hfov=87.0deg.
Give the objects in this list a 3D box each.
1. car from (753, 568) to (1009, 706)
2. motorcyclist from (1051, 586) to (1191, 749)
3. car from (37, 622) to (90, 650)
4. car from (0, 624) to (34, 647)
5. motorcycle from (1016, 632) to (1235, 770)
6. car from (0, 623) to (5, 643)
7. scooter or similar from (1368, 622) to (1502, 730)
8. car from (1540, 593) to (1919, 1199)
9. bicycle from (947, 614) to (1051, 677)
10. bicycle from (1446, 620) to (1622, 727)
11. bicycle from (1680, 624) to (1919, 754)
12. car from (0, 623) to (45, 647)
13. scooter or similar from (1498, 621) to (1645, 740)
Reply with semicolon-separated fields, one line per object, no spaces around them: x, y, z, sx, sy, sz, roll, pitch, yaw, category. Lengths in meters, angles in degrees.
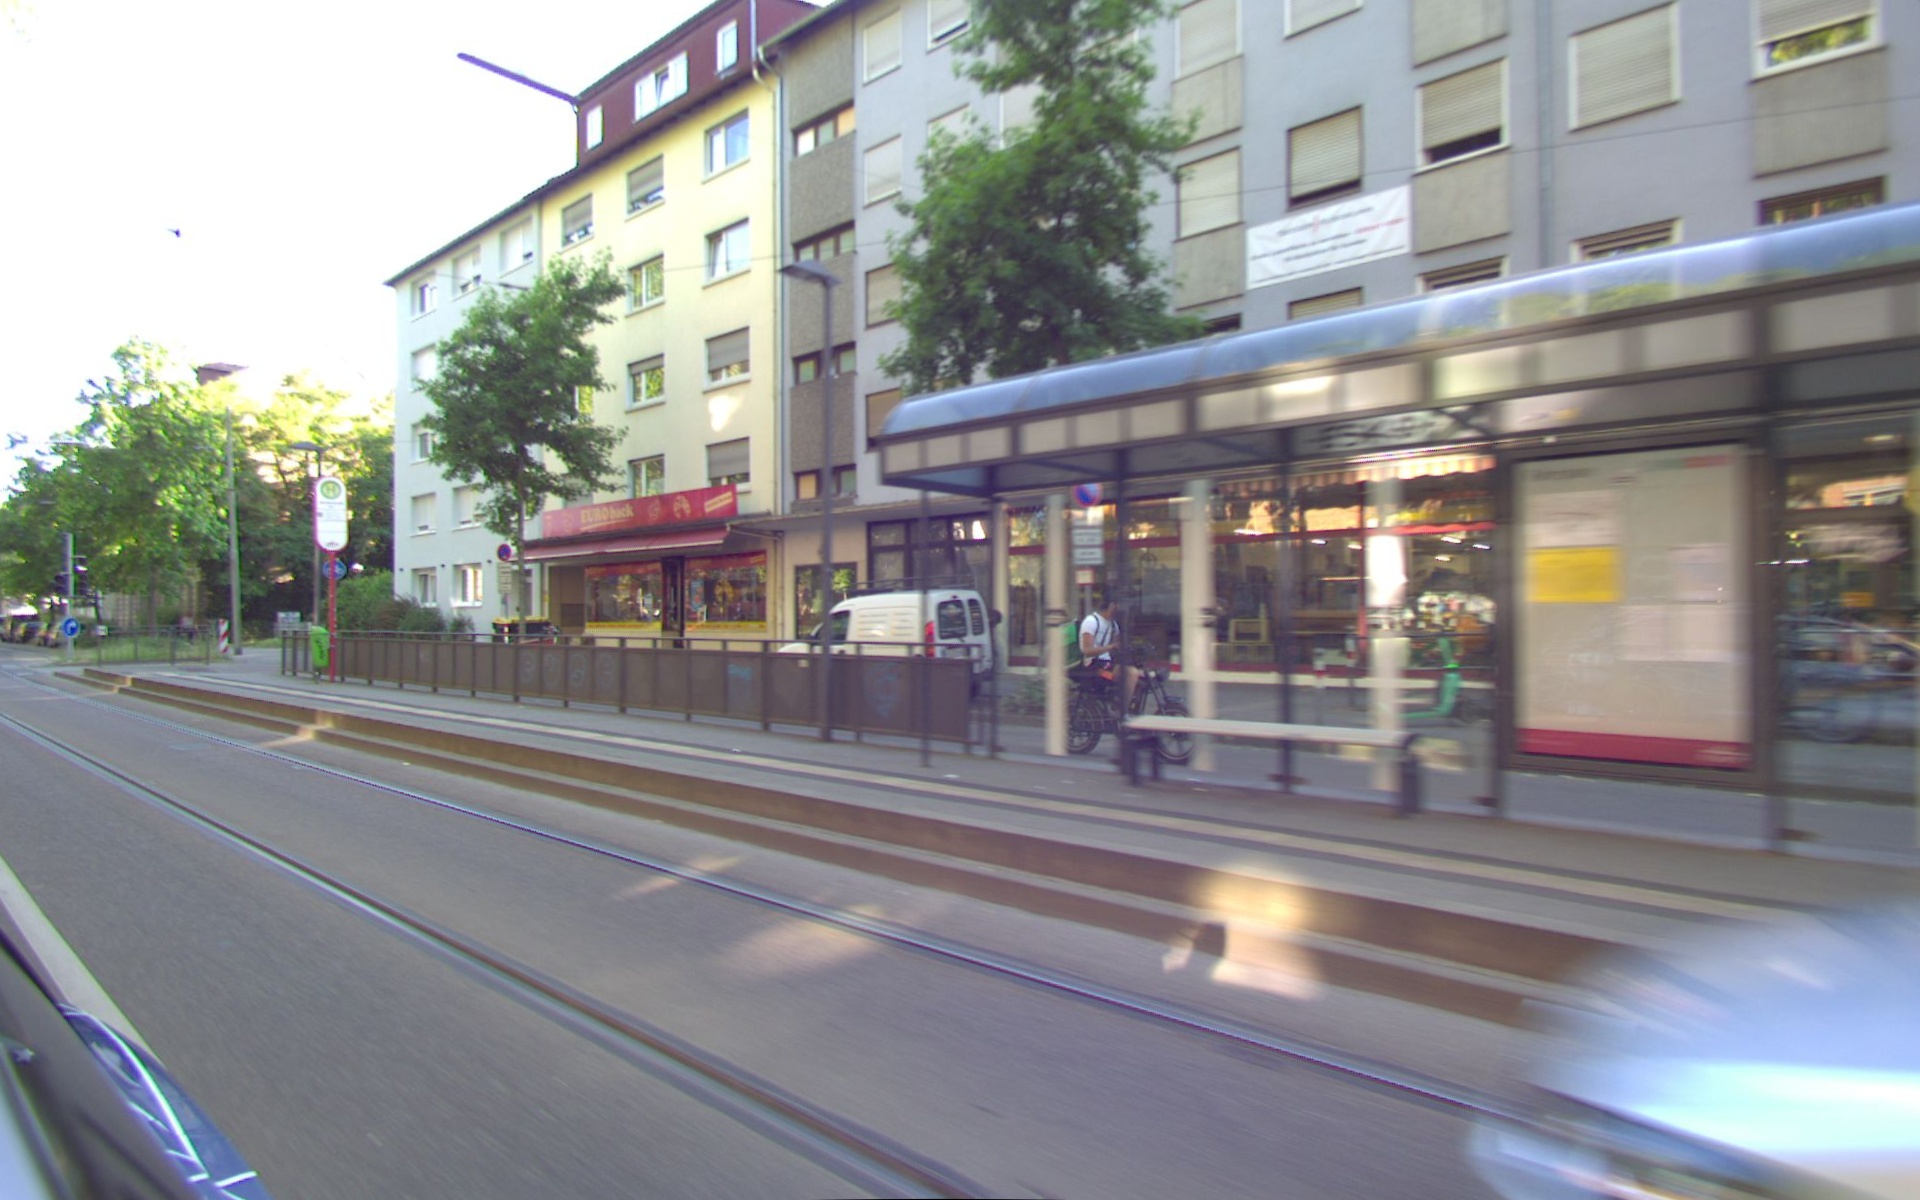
-1.357;0.573;16.354;4.046;1.949;1.785;-1;-2;40;car
1.539;0.618;9.678;1.015;1.451;0.864;-1;-2;40;motorcyclist
-51.108;2.030;57.665;3.678;1.541;1.971;-1;-2;44;car
-66.564;2.457;71.117;3.678;1.541;1.971;-1;-2;44;car
1.546;0.901;9.665;1.914;1.173;0.840;-1;-2;41;motorcycle
-77.410;2.623;80.465;3.678;1.541;1.971;-1;-2;44;car
5.324;0.842;11.386;1.259;1.183;0.445;0;-1;5;scooter or similar
2.839;0.697;0.671;3.998;1.437;1.743;-1;-2;41;car
0.730;0.859;19.526;2.033;1.165;0.565;-1;-2;35;bicycle
6.617;0.813;11.728;1.688;1.165;0.506;-1;-2;44;bicycle
8.172;0.813;9.702;2.033;1.165;0.565;-1;-2;35;bicycle
-62.938;2.321;67.941;3.678;1.541;1.971;-1;-2;44;car
6.405;0.811;10.623;1.272;1.183;0.440;-1;-2;36;scooter or similar
